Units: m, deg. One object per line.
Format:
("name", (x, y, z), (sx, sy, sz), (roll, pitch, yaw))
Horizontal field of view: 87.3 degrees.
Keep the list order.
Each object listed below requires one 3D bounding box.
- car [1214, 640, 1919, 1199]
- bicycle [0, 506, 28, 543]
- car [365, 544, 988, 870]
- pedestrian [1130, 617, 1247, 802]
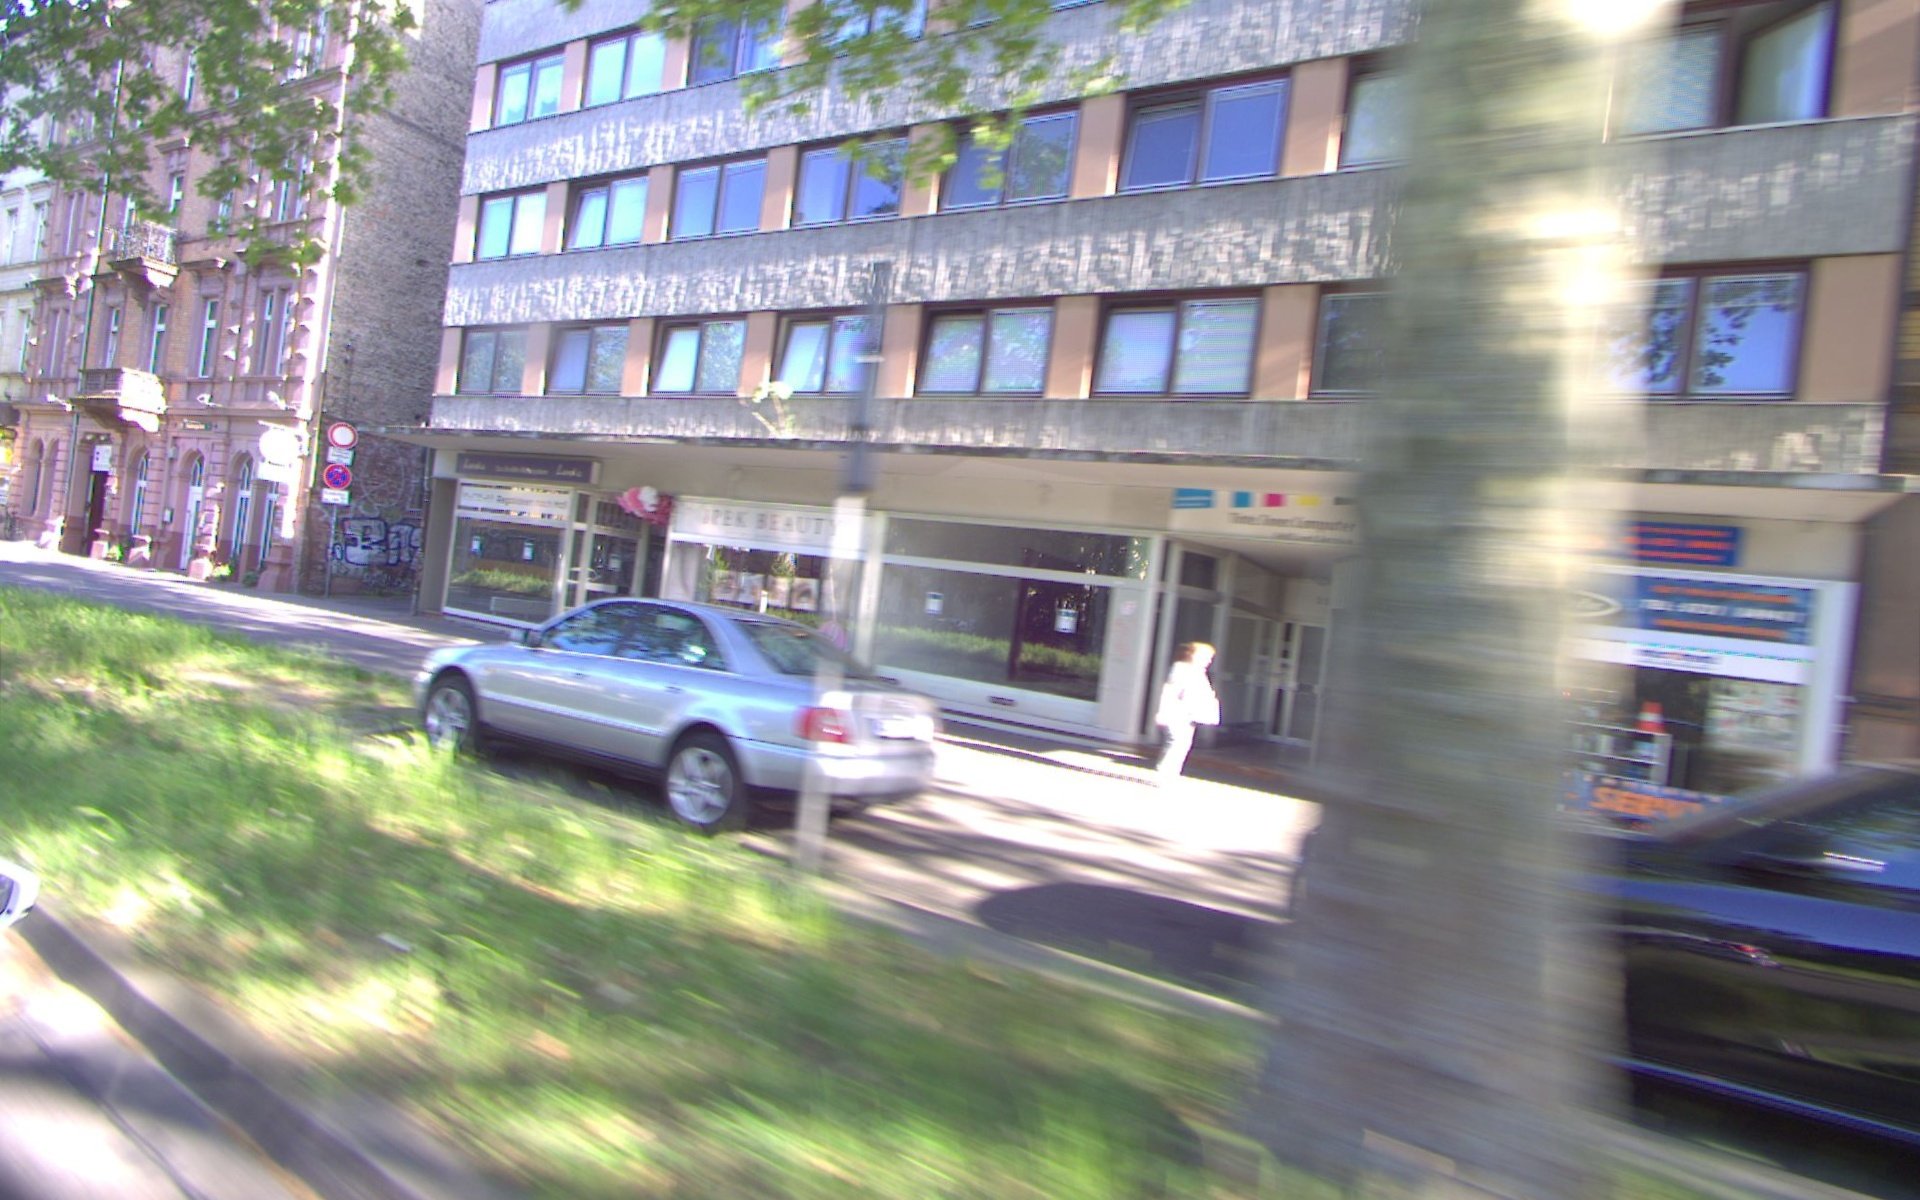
("car", (3.667, 1.275, 3.733), (4.838, 1.506, 1.811), (7, -3, 32))
("bicycle", (-29.938, -2.401, 31.554), (1.660, 1.004, 0.444), (8, -2, 30))
("car", (-2.224, 0.644, 7.514), (4.439, 1.440, 1.706), (8, -2, 30))
("pedestrian", (2.449, 1.164, 10.719), (0.703, 1.780, 1.002), (8, -2, 31))
